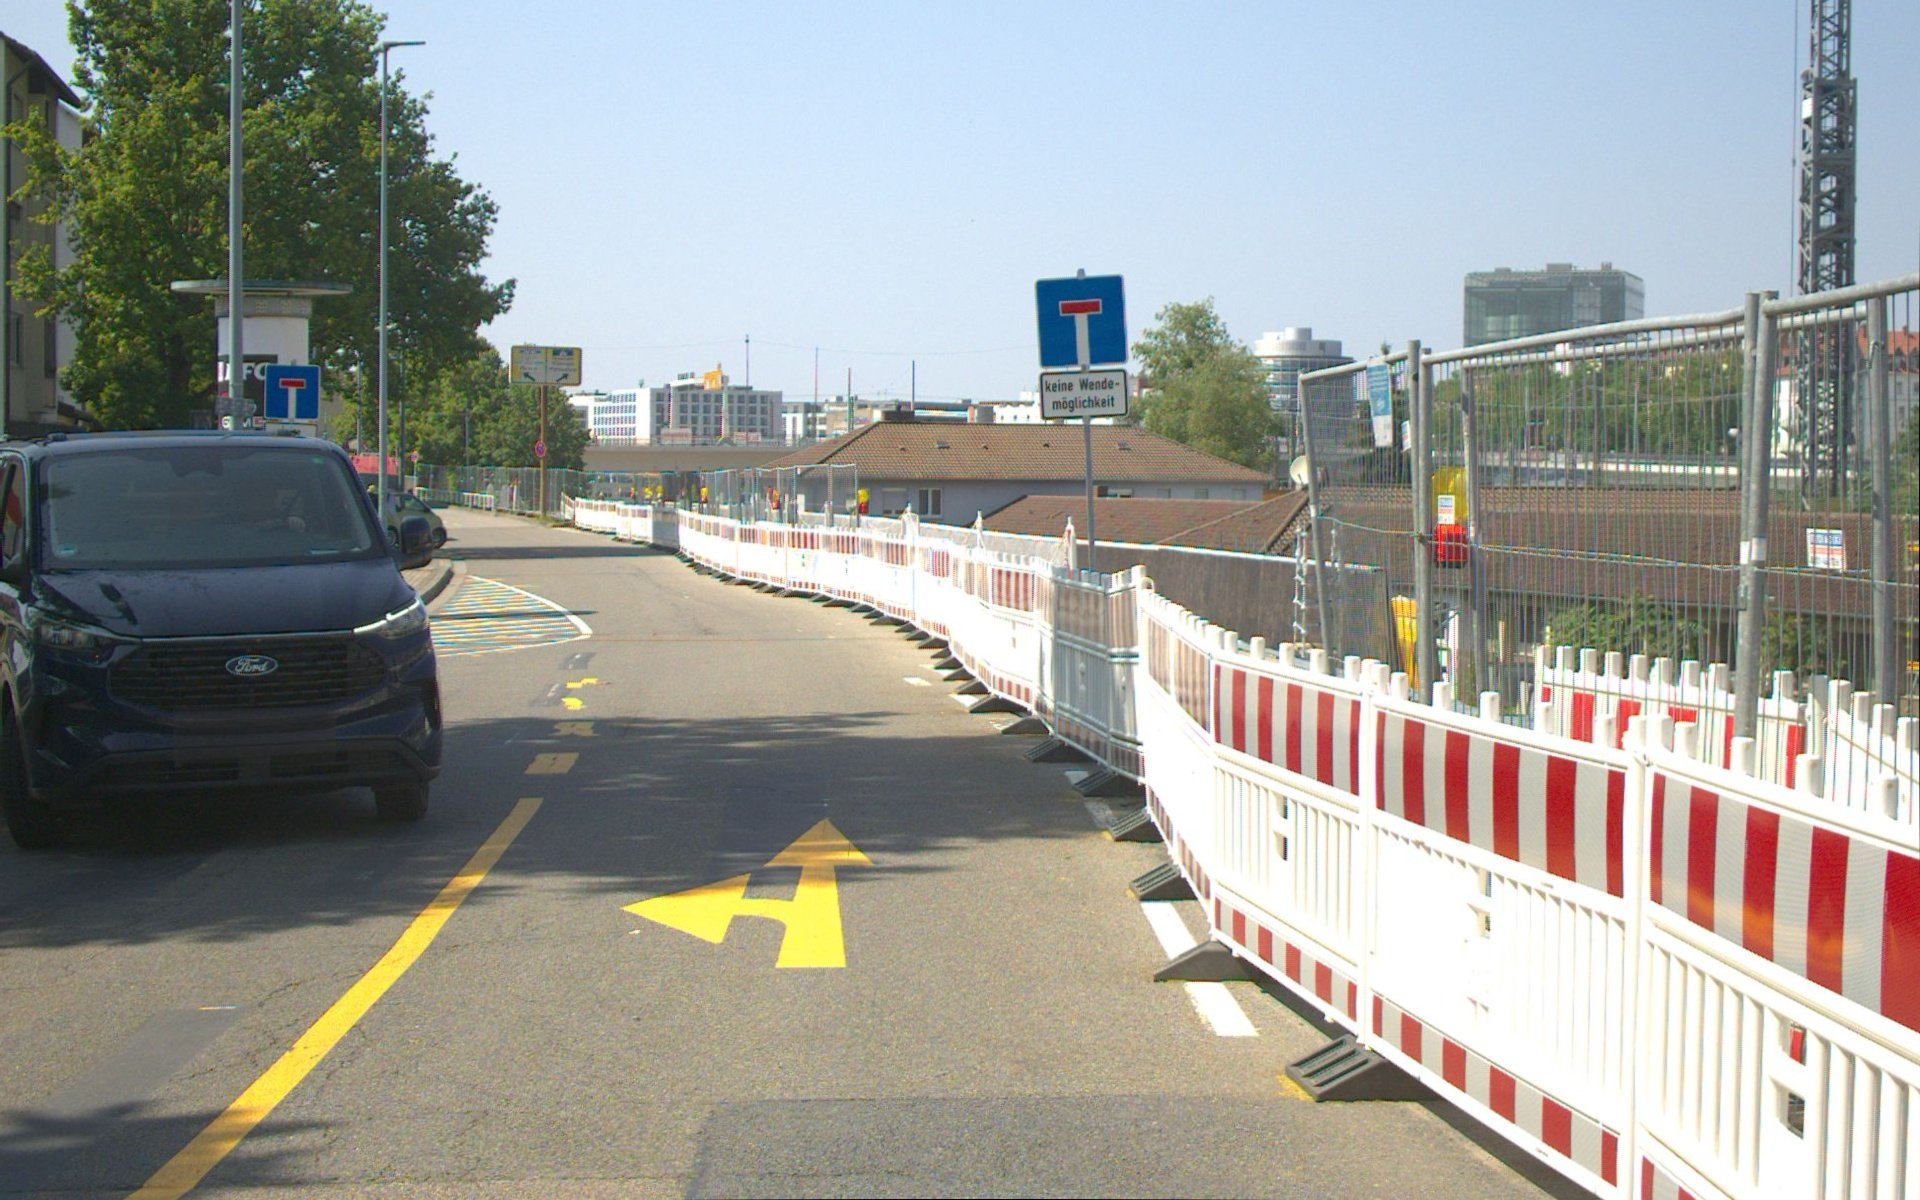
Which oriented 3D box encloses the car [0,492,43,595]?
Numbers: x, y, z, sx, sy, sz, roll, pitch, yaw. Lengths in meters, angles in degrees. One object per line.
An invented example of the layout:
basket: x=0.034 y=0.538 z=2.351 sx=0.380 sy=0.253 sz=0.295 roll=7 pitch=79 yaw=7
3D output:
car: x=-16.053 y=-0.952 z=55.872 sx=1.856 sy=1.623 sz=4.001 roll=0 pitch=2 yaw=-20

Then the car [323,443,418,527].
car: x=-18.380 y=-3.557 z=107.483 sx=2.537 sy=2.511 sz=5.119 roll=1 pitch=1 yaw=-6

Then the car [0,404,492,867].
car: x=-3.936 y=0.042 z=18.036 sx=2.176 sy=1.961 sz=5.447 roll=-3 pitch=3 yaw=-15

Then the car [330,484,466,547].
car: x=-15.314 y=-2.301 z=93.761 sx=1.725 sy=1.632 sz=3.273 roll=2 pitch=1 yaw=43
